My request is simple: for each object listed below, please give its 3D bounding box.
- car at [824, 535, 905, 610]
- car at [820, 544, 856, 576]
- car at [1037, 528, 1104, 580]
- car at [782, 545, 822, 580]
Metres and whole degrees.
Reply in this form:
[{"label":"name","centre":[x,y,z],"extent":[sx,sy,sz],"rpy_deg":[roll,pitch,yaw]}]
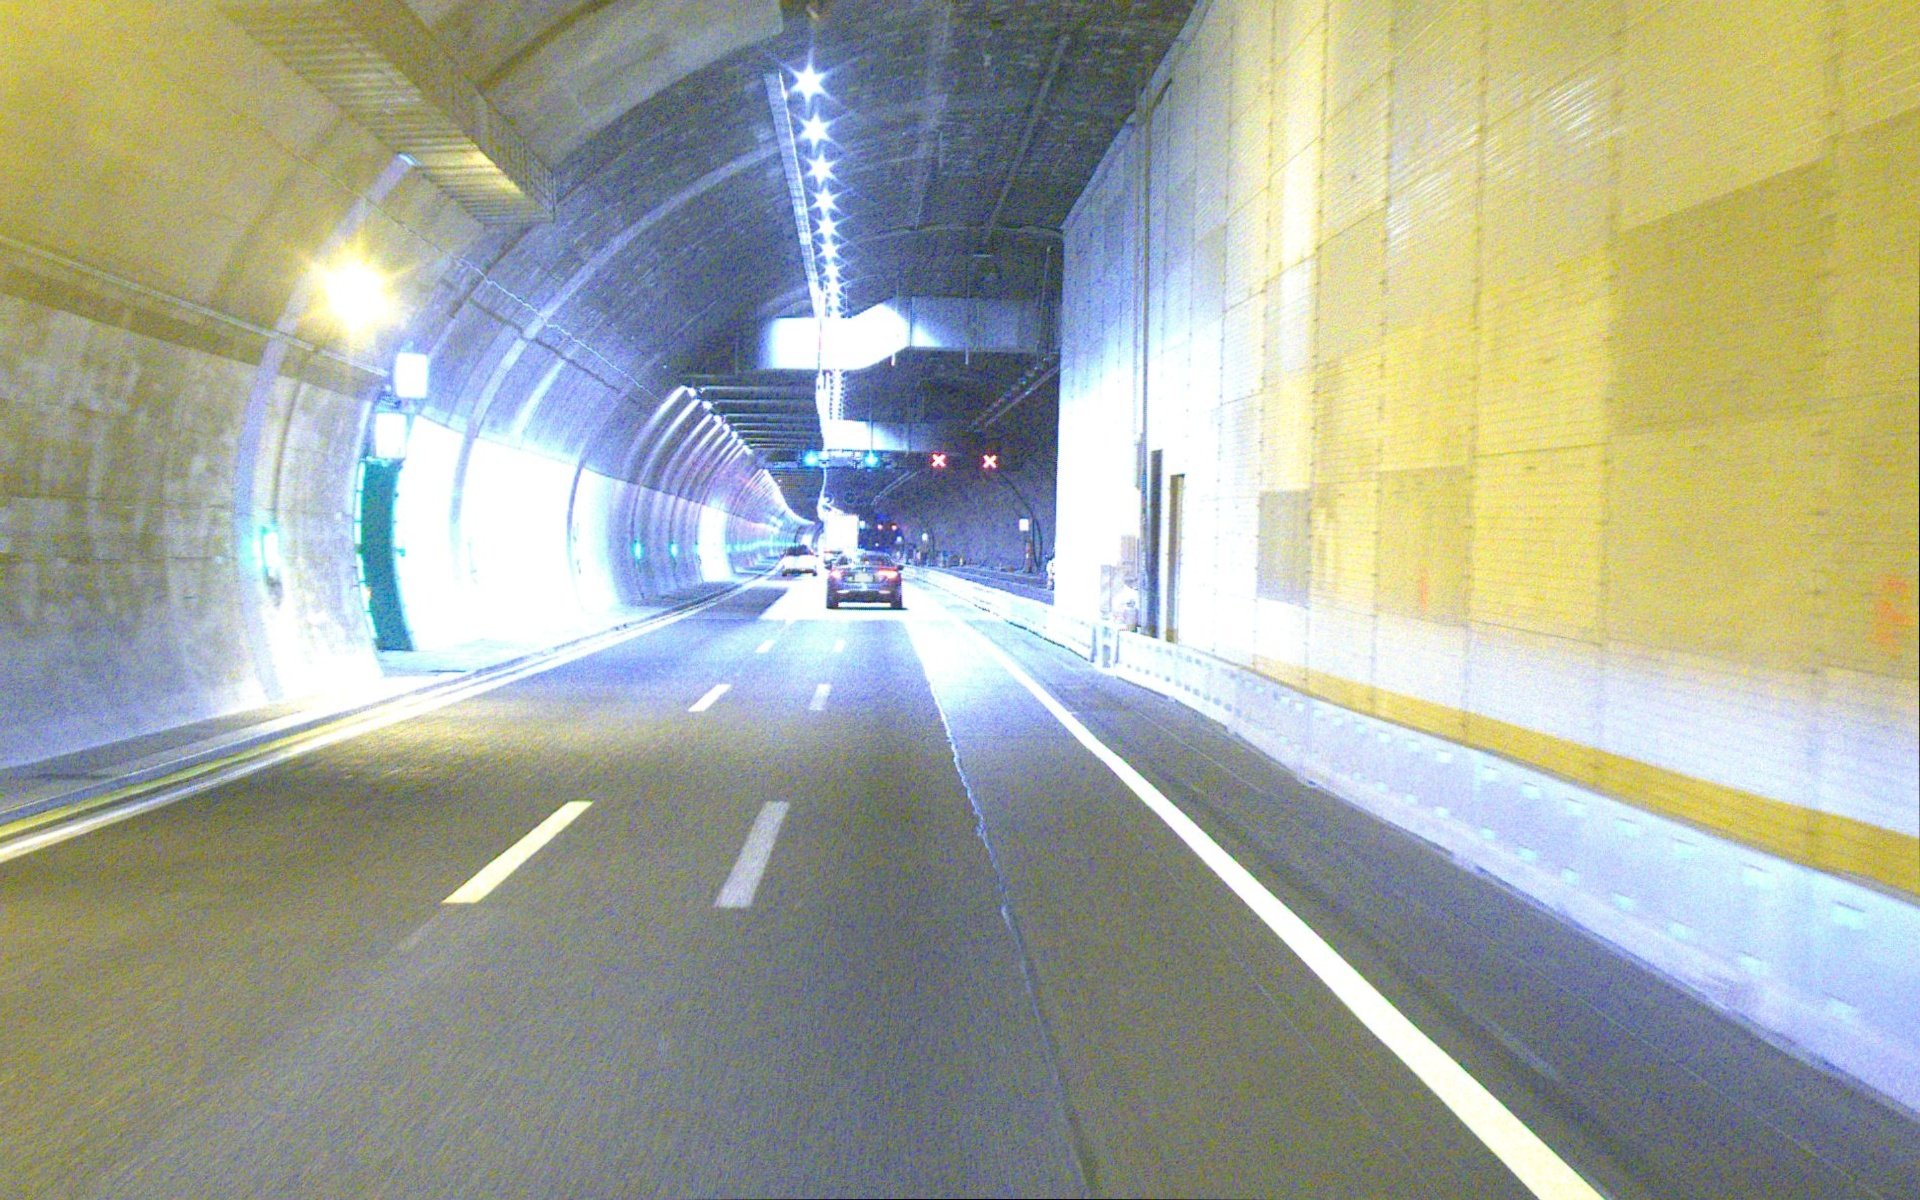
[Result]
[{"label":"car","centre":[-2.387,-0.706,85.706],"extent":[1.946,1.788,4.000],"rpy_deg":[-1,1,-2]},{"label":"car","centre":[-6.675,-2.192,187.879],"extent":[1.930,1.681,4.001],"rpy_deg":[-1,1,-3]},{"label":"car","centre":[4.030,-1.691,125.867],"extent":[1.750,1.839,4.647],"rpy_deg":[-1,1,-6]},{"label":"car","centre":[-7.968,-1.909,173.907],"extent":[1.930,1.681,4.001],"rpy_deg":[-1,1,-2]}]
